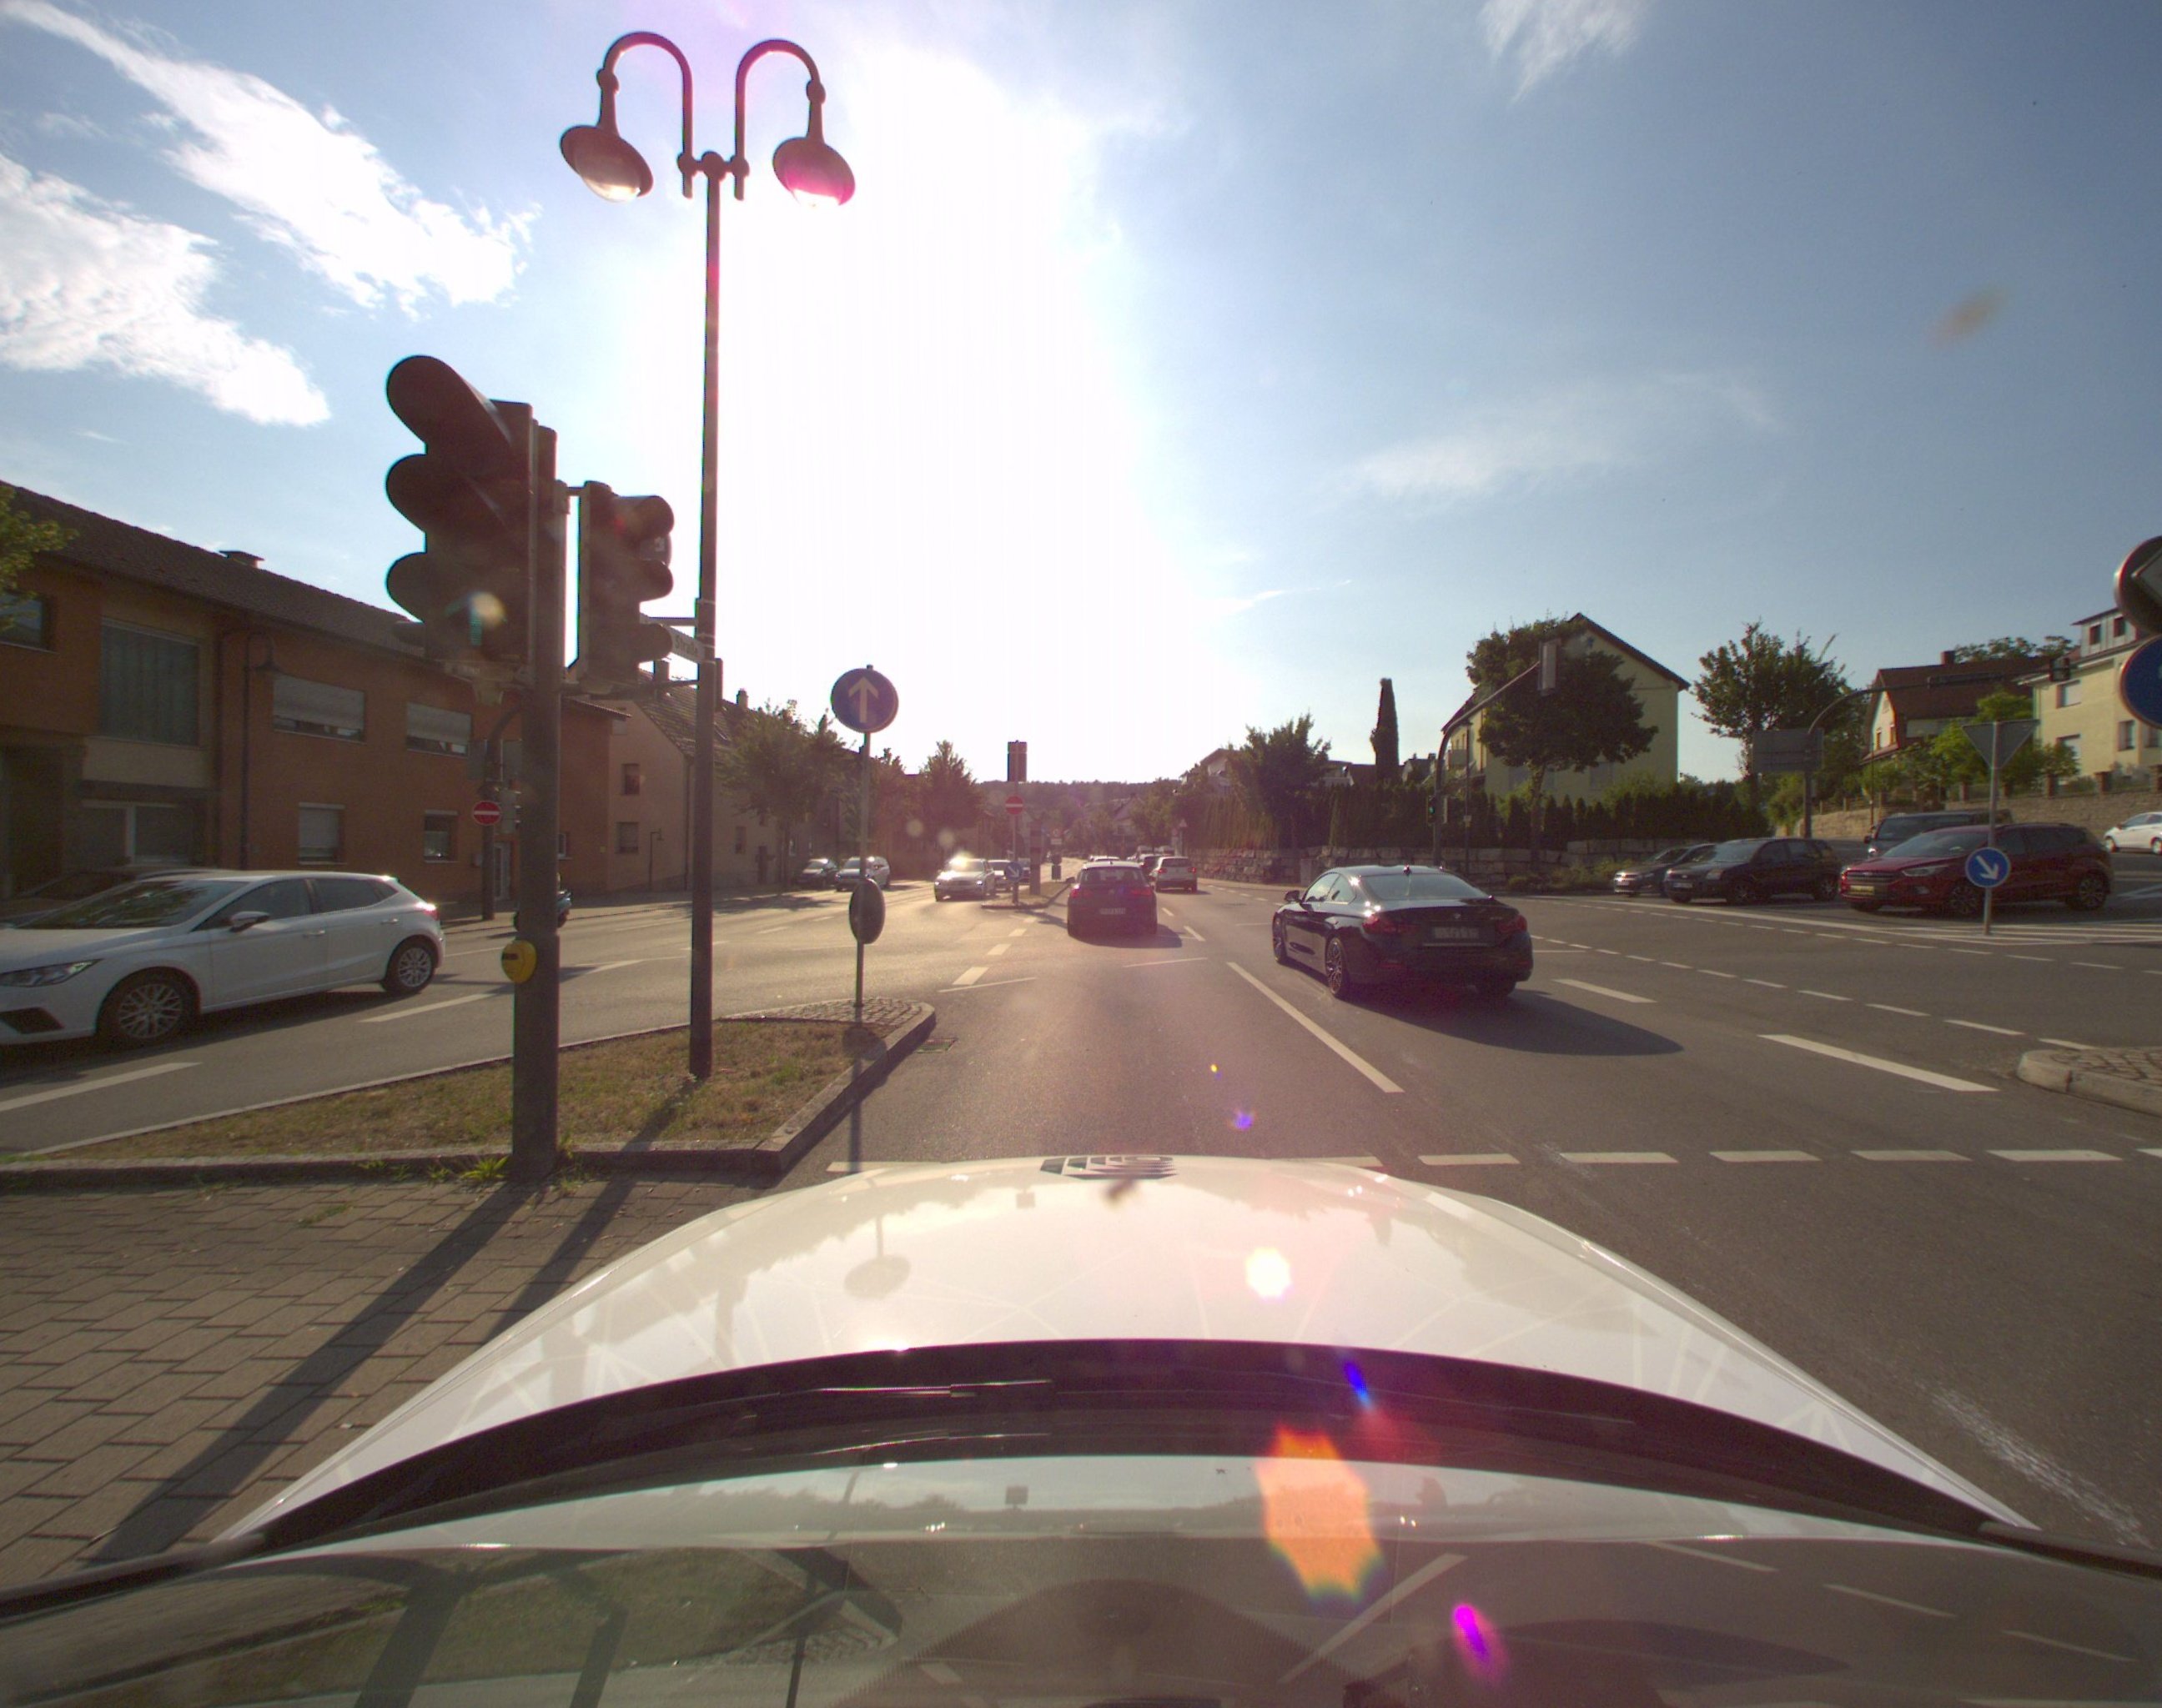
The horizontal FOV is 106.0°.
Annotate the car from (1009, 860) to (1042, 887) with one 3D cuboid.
[{"bbox_3d":[-3.158,1.091,46.961,1.526,1.462,3.508,-1,0,2],"label":"car"}]

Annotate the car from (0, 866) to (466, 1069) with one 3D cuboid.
[{"bbox_3d":[-8.479,0.880,8.024,1.751,1.411,4.000,-1,0,1],"label":"car"}]

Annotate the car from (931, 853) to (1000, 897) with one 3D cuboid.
[{"bbox_3d":[-4.243,0.716,30.556,1.828,1.488,4.567,-1,0,1],"label":"car"}]

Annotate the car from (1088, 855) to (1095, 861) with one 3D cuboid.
[{"bbox_3d":[2.535,0.916,194.243,1.592,1.485,3.473,0,0,-2],"label":"car"}]

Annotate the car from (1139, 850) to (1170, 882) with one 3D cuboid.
[{"bbox_3d":[4.197,0.648,46.770,1.597,1.767,3.412,-1,0,2],"label":"car"}]

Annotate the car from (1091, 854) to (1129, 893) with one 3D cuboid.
[{"bbox_3d":[1.262,0.826,36.538,1.586,1.600,3.894,-1,0,1],"label":"car"}]

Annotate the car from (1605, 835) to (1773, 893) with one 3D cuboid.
[{"bbox_3d":[17.229,0.278,23.179,3.590,1.450,1.625,-2,-1,-3],"label":"car"}]

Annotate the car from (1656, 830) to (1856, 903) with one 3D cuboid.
[{"bbox_3d":[16.051,0.270,19.435,3.786,1.542,1.593,-2,0,-10],"label":"car"}]

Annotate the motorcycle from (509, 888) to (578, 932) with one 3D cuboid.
[{"bbox_3d":[-12.196,1.256,18.540,0.411,0.860,1.763,-1,0,0],"label":"motorcycle"}]

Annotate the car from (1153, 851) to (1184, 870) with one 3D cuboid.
[{"bbox_3d":[8.179,0.611,76.328,1.833,1.649,4.526,-1,0,-8],"label":"car"}]

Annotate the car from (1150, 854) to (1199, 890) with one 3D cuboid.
[{"bbox_3d":[3.923,0.723,34.660,1.748,1.414,3.422,-1,0,1],"label":"car"}]

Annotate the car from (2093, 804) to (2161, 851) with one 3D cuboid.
[{"bbox_3d":[36.532,-0.879,27.351,1.844,1.494,4.025,-1,0,30],"label":"car"}]

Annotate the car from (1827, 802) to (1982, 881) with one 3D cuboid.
[{"bbox_3d":[22.545,-0.341,22.236,5.198,1.932,1.979,-1,0,-33],"label":"car"}]

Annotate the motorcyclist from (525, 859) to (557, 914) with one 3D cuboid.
[{"bbox_3d":[-12.203,0.732,18.409,0.402,1.229,0.461,-1,0,0],"label":"motorcyclist"}]

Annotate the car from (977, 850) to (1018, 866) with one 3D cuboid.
[{"bbox_3d":[-13.107,0.554,128.024,6.140,2.444,2.249,0,0,-1],"label":"car"}]

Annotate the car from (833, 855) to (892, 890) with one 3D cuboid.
[{"bbox_3d":[-10.950,0.885,41.084,1.680,1.612,4.414,-1,0,1],"label":"car"}]

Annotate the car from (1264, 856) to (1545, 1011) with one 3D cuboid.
[{"bbox_3d":[3.489,0.745,9.705,1.694,1.369,4.263,-1,0,1],"label":"car"}]

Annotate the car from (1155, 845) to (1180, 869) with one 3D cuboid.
[{"bbox_3d":[10.400,0.301,98.152,2.106,2.722,6.438,-1,0,-2],"label":"car"}]

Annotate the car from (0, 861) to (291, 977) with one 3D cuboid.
[{"bbox_3d":[-15.248,0.890,12.734,1.788,1.414,3.944,2,1,2],"label":"car"}]

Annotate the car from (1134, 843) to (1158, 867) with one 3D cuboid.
[{"bbox_3d":[7.787,0.097,97.975,2.144,2.680,6.598,-1,0,-2],"label":"car"}]

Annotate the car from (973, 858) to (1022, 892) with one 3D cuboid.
[{"bbox_3d":[-3.684,0.916,36.474,1.582,1.427,3.581,-1,0,4],"label":"car"}]

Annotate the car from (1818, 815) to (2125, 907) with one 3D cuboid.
[{"bbox_3d":[17.184,0.115,15.843,4.232,1.626,1.859,-1,0,-5],"label":"car"}]

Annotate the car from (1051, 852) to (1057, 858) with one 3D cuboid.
[{"bbox_3d":[-6.865,0.136,206.570,1.592,1.485,3.473,0,0,-2],"label":"car"}]

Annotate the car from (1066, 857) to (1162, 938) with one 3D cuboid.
[{"bbox_3d":[0.640,0.821,17.006,1.765,1.456,3.516,-2,0,1],"label":"car"}]

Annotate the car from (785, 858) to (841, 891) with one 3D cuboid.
[{"bbox_3d":[-13.727,1.022,41.922,1.507,1.510,3.886,1,0,0],"label":"car"}]
